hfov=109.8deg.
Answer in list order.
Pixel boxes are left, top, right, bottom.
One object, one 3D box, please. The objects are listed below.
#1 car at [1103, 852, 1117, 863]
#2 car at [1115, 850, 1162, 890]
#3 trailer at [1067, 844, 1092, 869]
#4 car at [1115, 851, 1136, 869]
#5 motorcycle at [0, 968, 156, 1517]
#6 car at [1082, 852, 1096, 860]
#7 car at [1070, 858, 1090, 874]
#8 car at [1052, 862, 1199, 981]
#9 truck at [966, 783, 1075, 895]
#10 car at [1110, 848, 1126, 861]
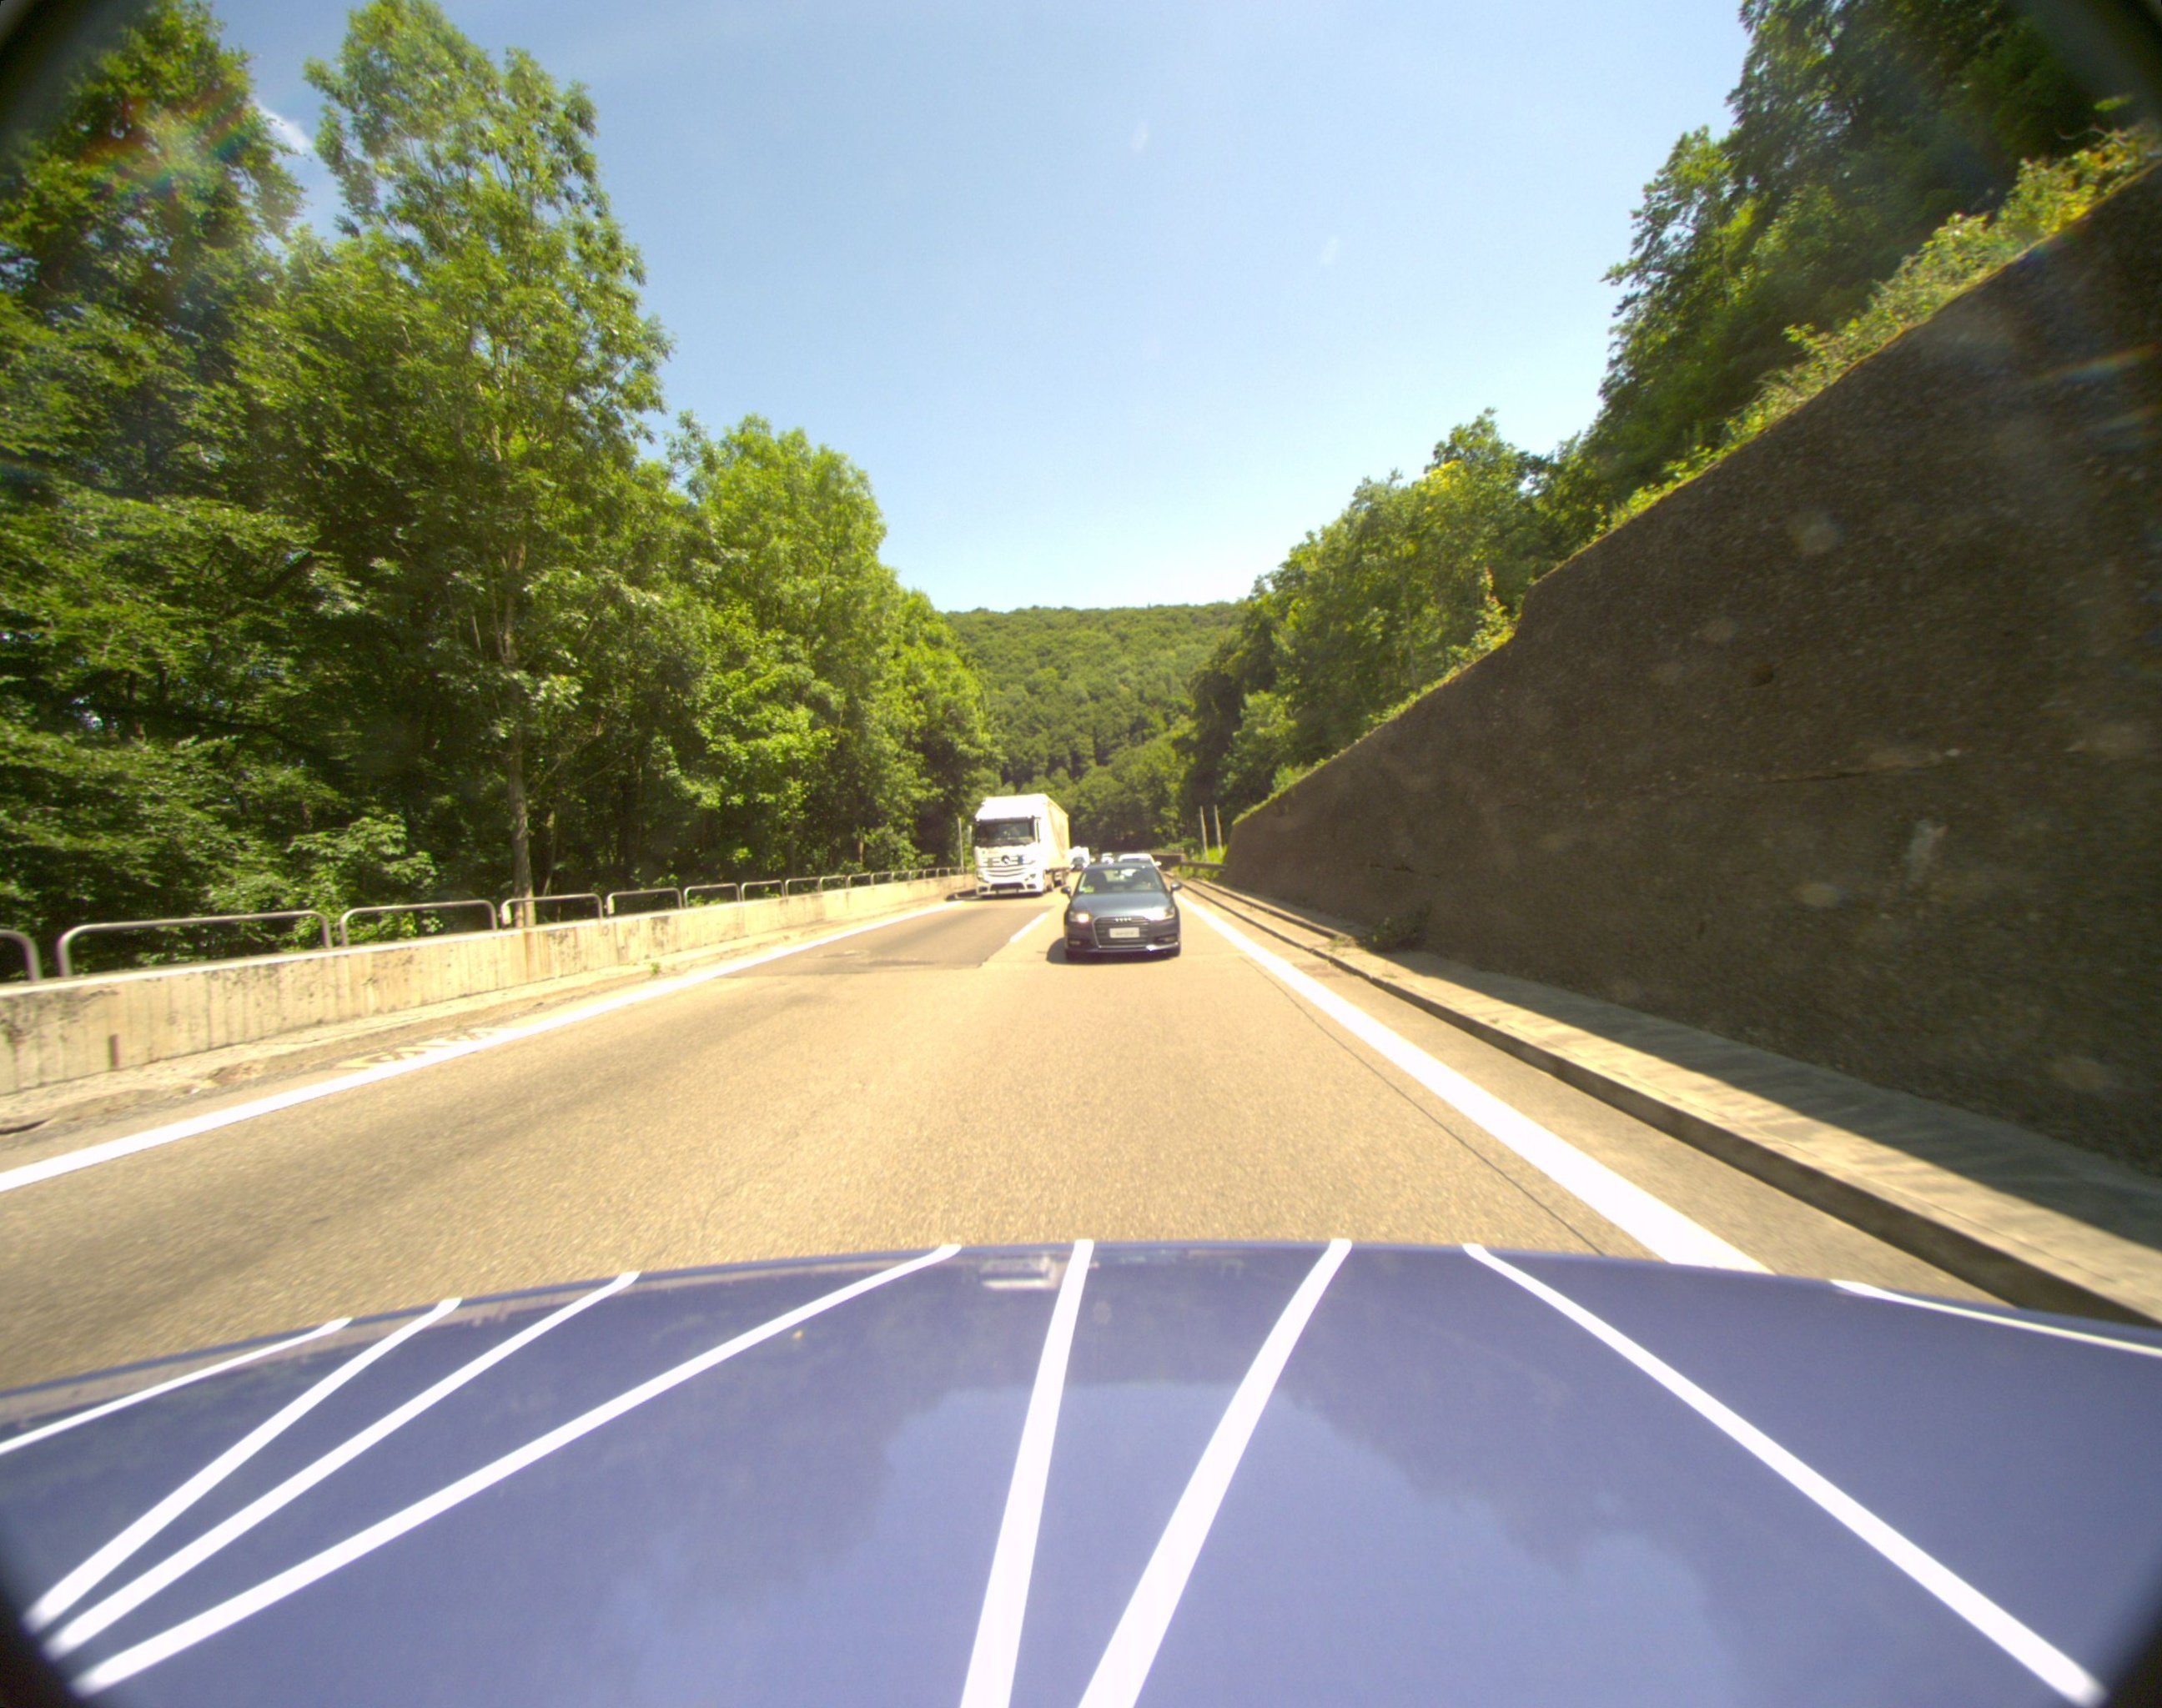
[{"bbox_3d":[4.165,0.432,107.918,1.619,1.487,3.655,-2,0,-3],"label":"car"},{"bbox_3d":[2.343,0.612,31.181,1.755,1.460,3.983,-2,0,4],"label":"car"},{"bbox_3d":[-0.079,0.270,90.906,2.527,2.694,9.505,-1,0,2],"label":"trailer"},{"bbox_3d":[3.968,0.471,67.159,1.755,1.480,3.983,-2,0,3],"label":"car"},{"bbox_3d":[-3.454,1.080,1.022,0.975,1.411,2.681,-2,0,4],"label":"motorcycle"},{"bbox_3d":[1.433,0.354,134.811,1.620,1.487,3.652,-2,0,-12],"label":"car"},{"bbox_3d":[-0.108,1.272,82.460,1.999,1.652,3.999,-2,0,-1],"label":"car"},{"bbox_3d":[0.627,0.861,11.454,1.755,1.350,4.122,-2,0,2],"label":"car"},{"bbox_3d":[-2.296,-0.642,36.418,2.968,4.109,16.708,-1,1,3],"label":"truck"},{"bbox_3d":[4.575,0.112,95.070,1.618,1.487,3.655,-4,0,-2],"label":"car"}]
